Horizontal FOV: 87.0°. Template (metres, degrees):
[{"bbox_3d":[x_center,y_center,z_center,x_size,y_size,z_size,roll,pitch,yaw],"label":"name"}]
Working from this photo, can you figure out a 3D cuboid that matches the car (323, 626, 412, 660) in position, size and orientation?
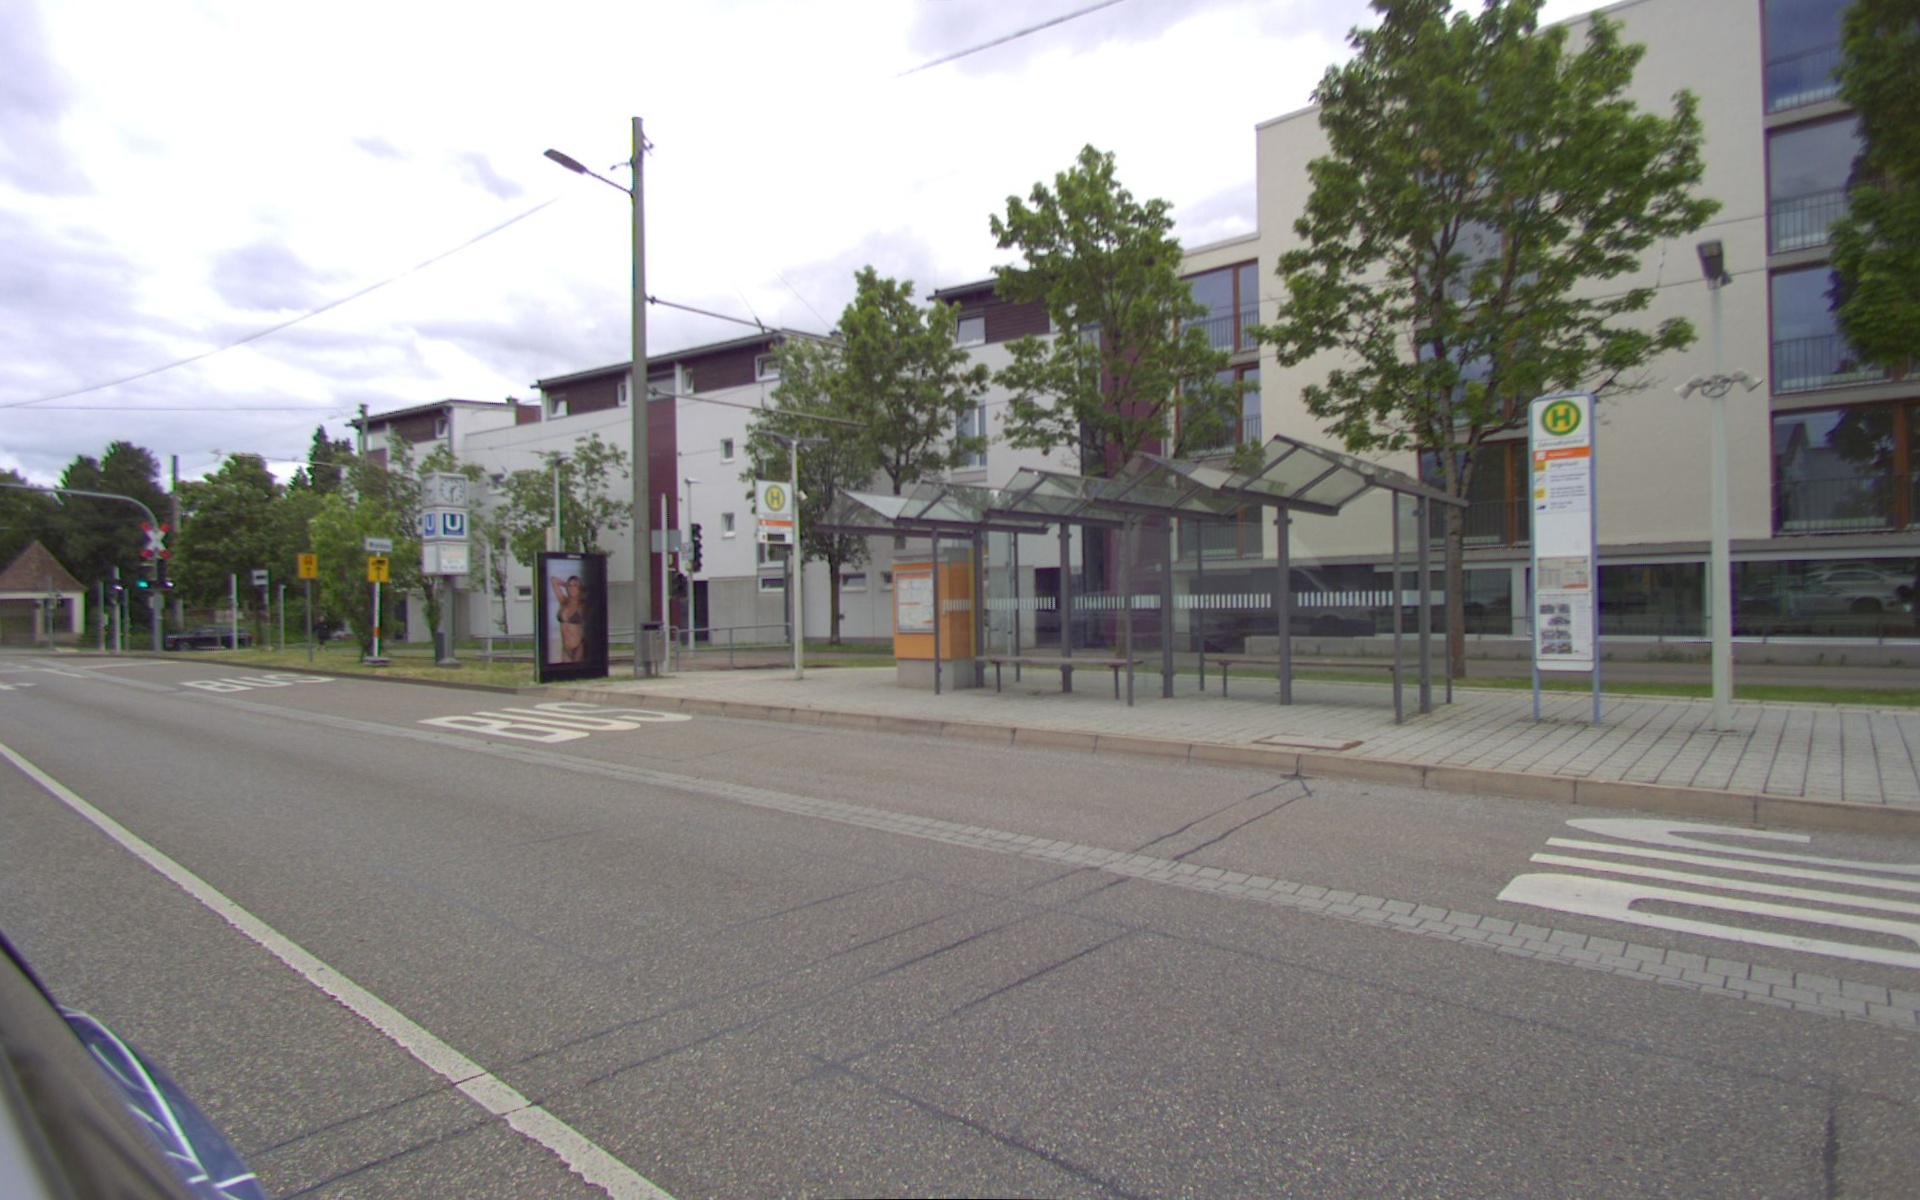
[{"bbox_3d":[-38.042,2.779,65.083,1.995,2.029,4.418,-1,-4,34],"label":"car"}]

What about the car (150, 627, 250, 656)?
[{"bbox_3d":[-46.334,2.554,61.788,1.960,1.682,4.438,-1,-4,33],"label":"car"}]

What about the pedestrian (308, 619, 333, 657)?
[{"bbox_3d":[-28.027,1.663,44.357,0.817,1.657,0.669,-4,-3,35],"label":"pedestrian"}]
